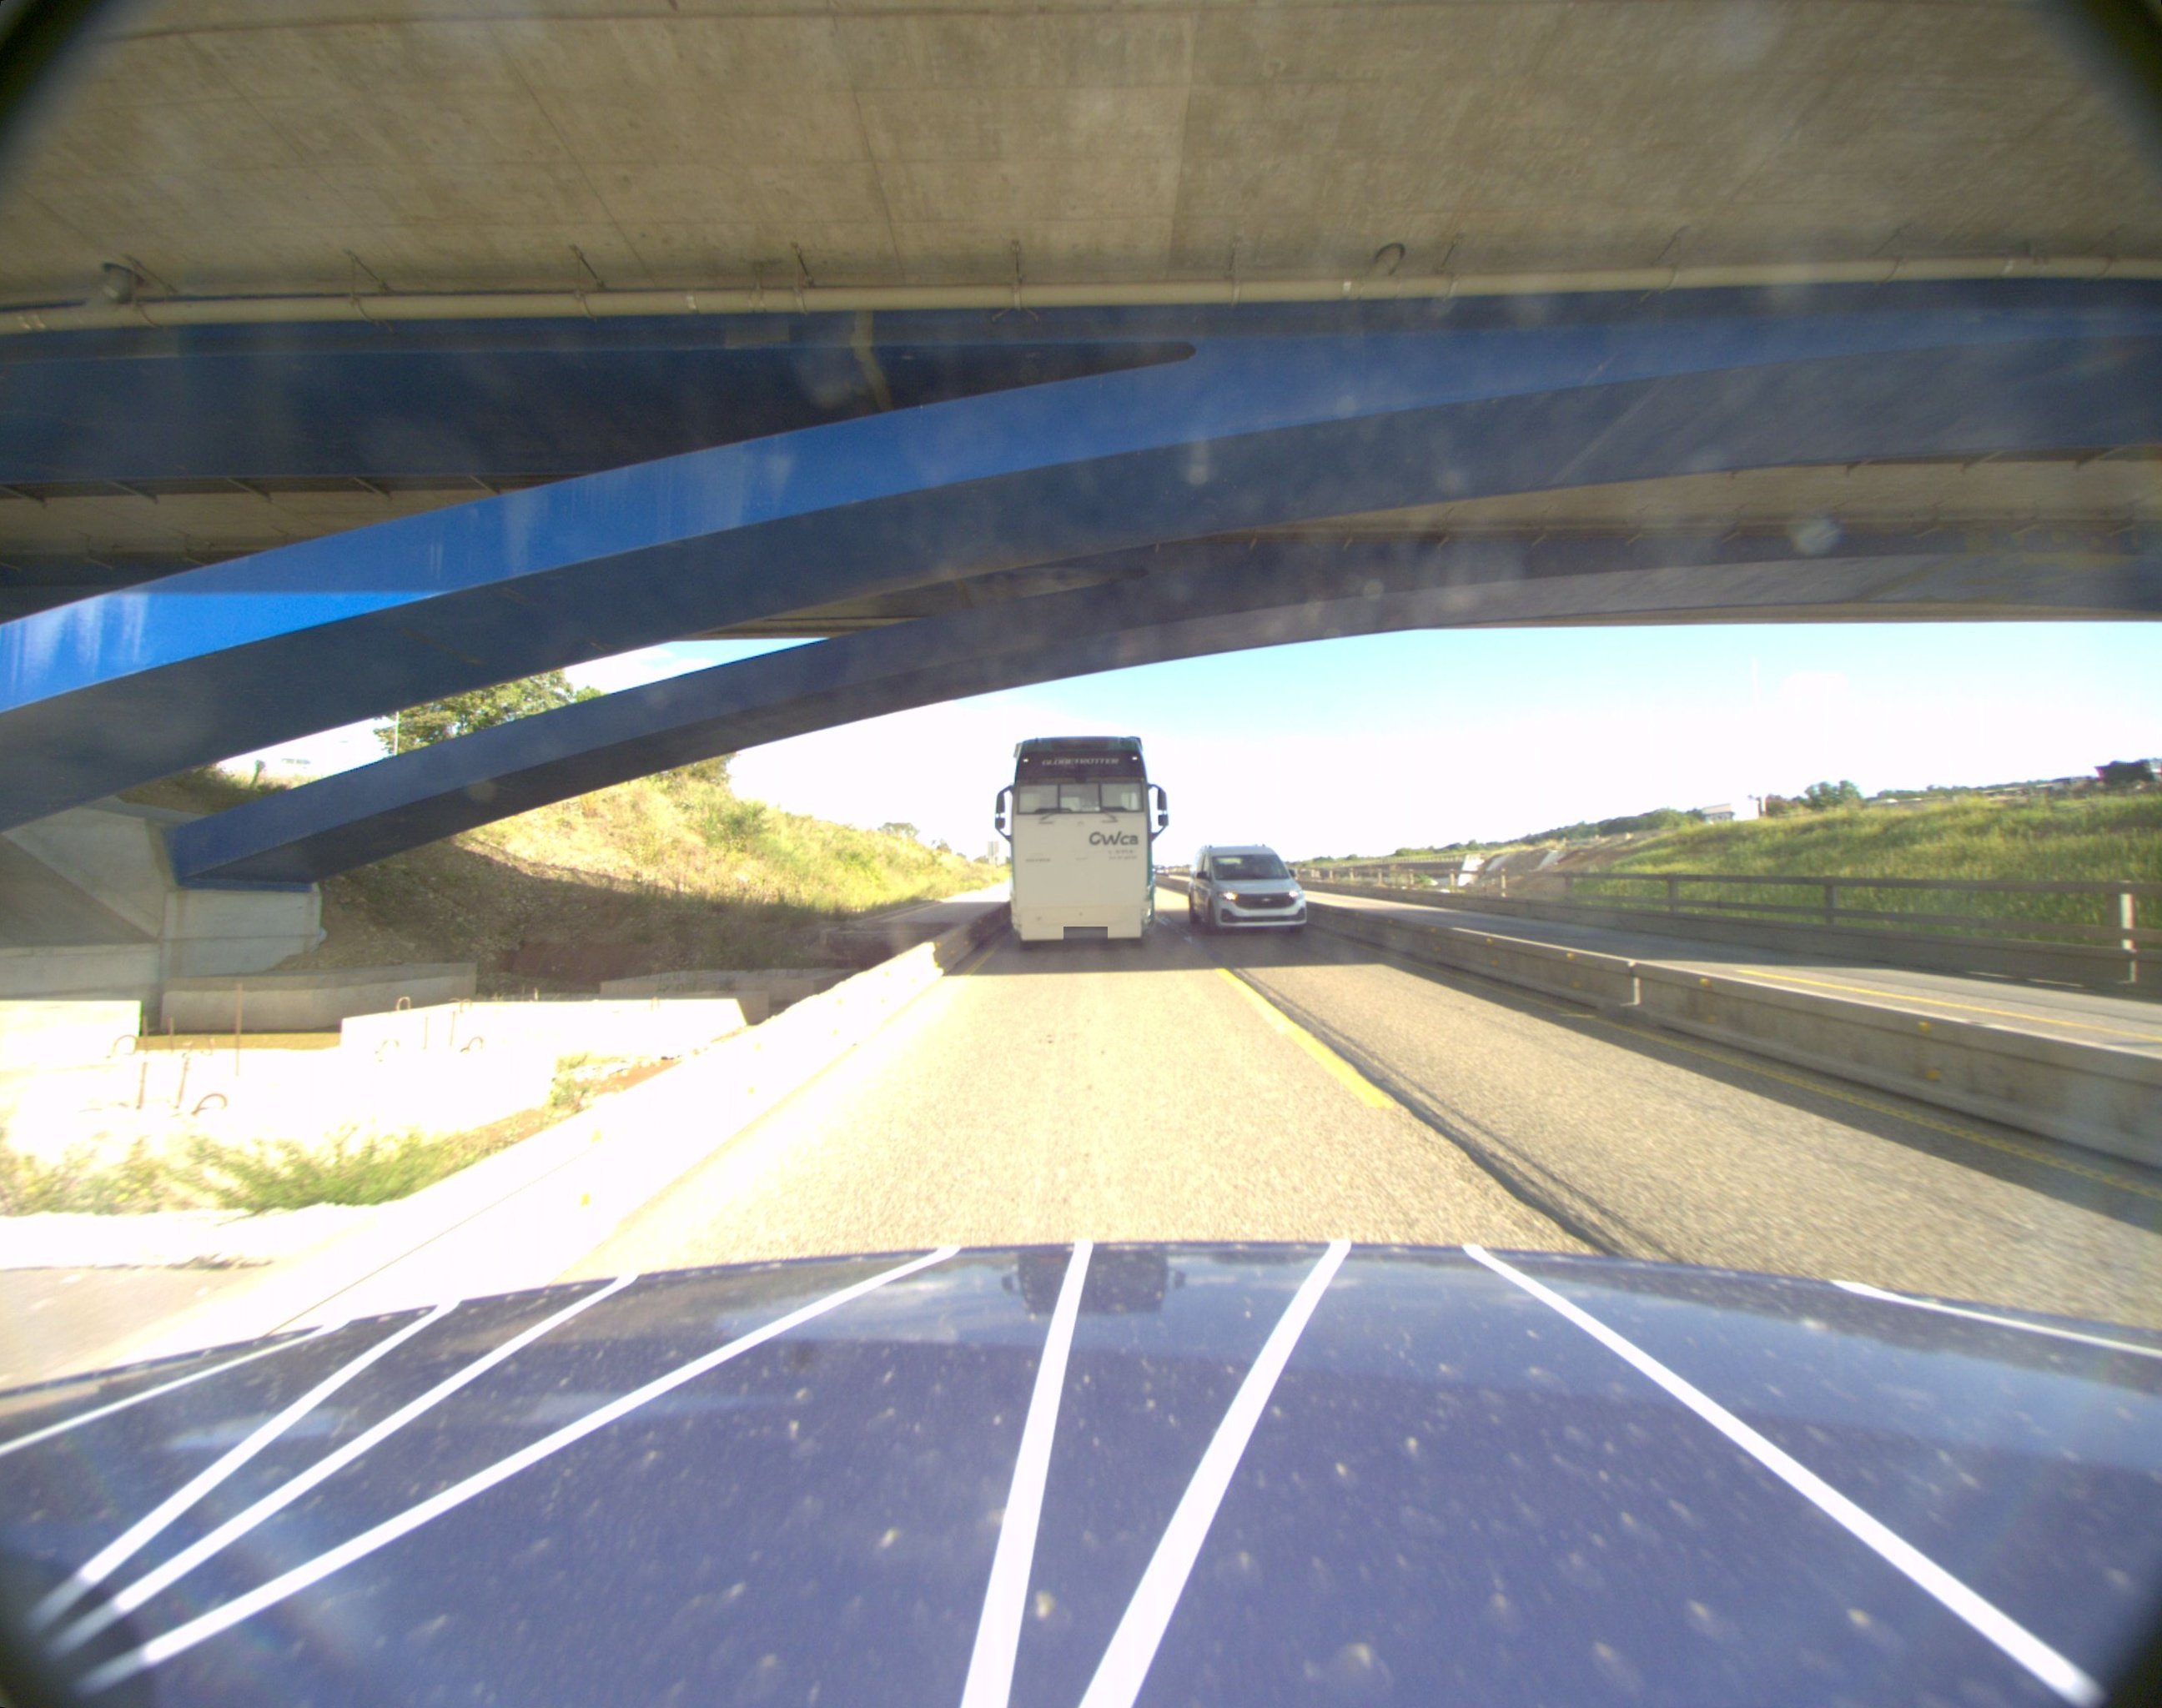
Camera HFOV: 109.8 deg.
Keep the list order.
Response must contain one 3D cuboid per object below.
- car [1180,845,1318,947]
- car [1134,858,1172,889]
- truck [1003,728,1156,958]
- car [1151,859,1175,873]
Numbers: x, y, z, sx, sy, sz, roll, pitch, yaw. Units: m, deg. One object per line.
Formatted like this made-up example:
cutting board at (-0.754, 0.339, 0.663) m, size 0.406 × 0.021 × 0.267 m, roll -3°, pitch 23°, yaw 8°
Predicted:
car at (3.397, 0.793, 16.287) m, size 1.828 × 1.813 × 4.456 m, roll -3°, pitch 0°, yaw -1°
car at (3.802, 1.022, 40.690) m, size 1.719 × 1.499 × 4.000 m, roll -2°, pitch 0°, yaw 2°
truck at (-0.039, -0.182, 17.235) m, size 2.546 × 3.899 × 8.279 m, roll -1°, pitch 0°, yaw 0°
car at (7.088, 1.006, 66.199) m, size 1.672 × 1.149 × 4.218 m, roll 1°, pitch -1°, yaw 1°
